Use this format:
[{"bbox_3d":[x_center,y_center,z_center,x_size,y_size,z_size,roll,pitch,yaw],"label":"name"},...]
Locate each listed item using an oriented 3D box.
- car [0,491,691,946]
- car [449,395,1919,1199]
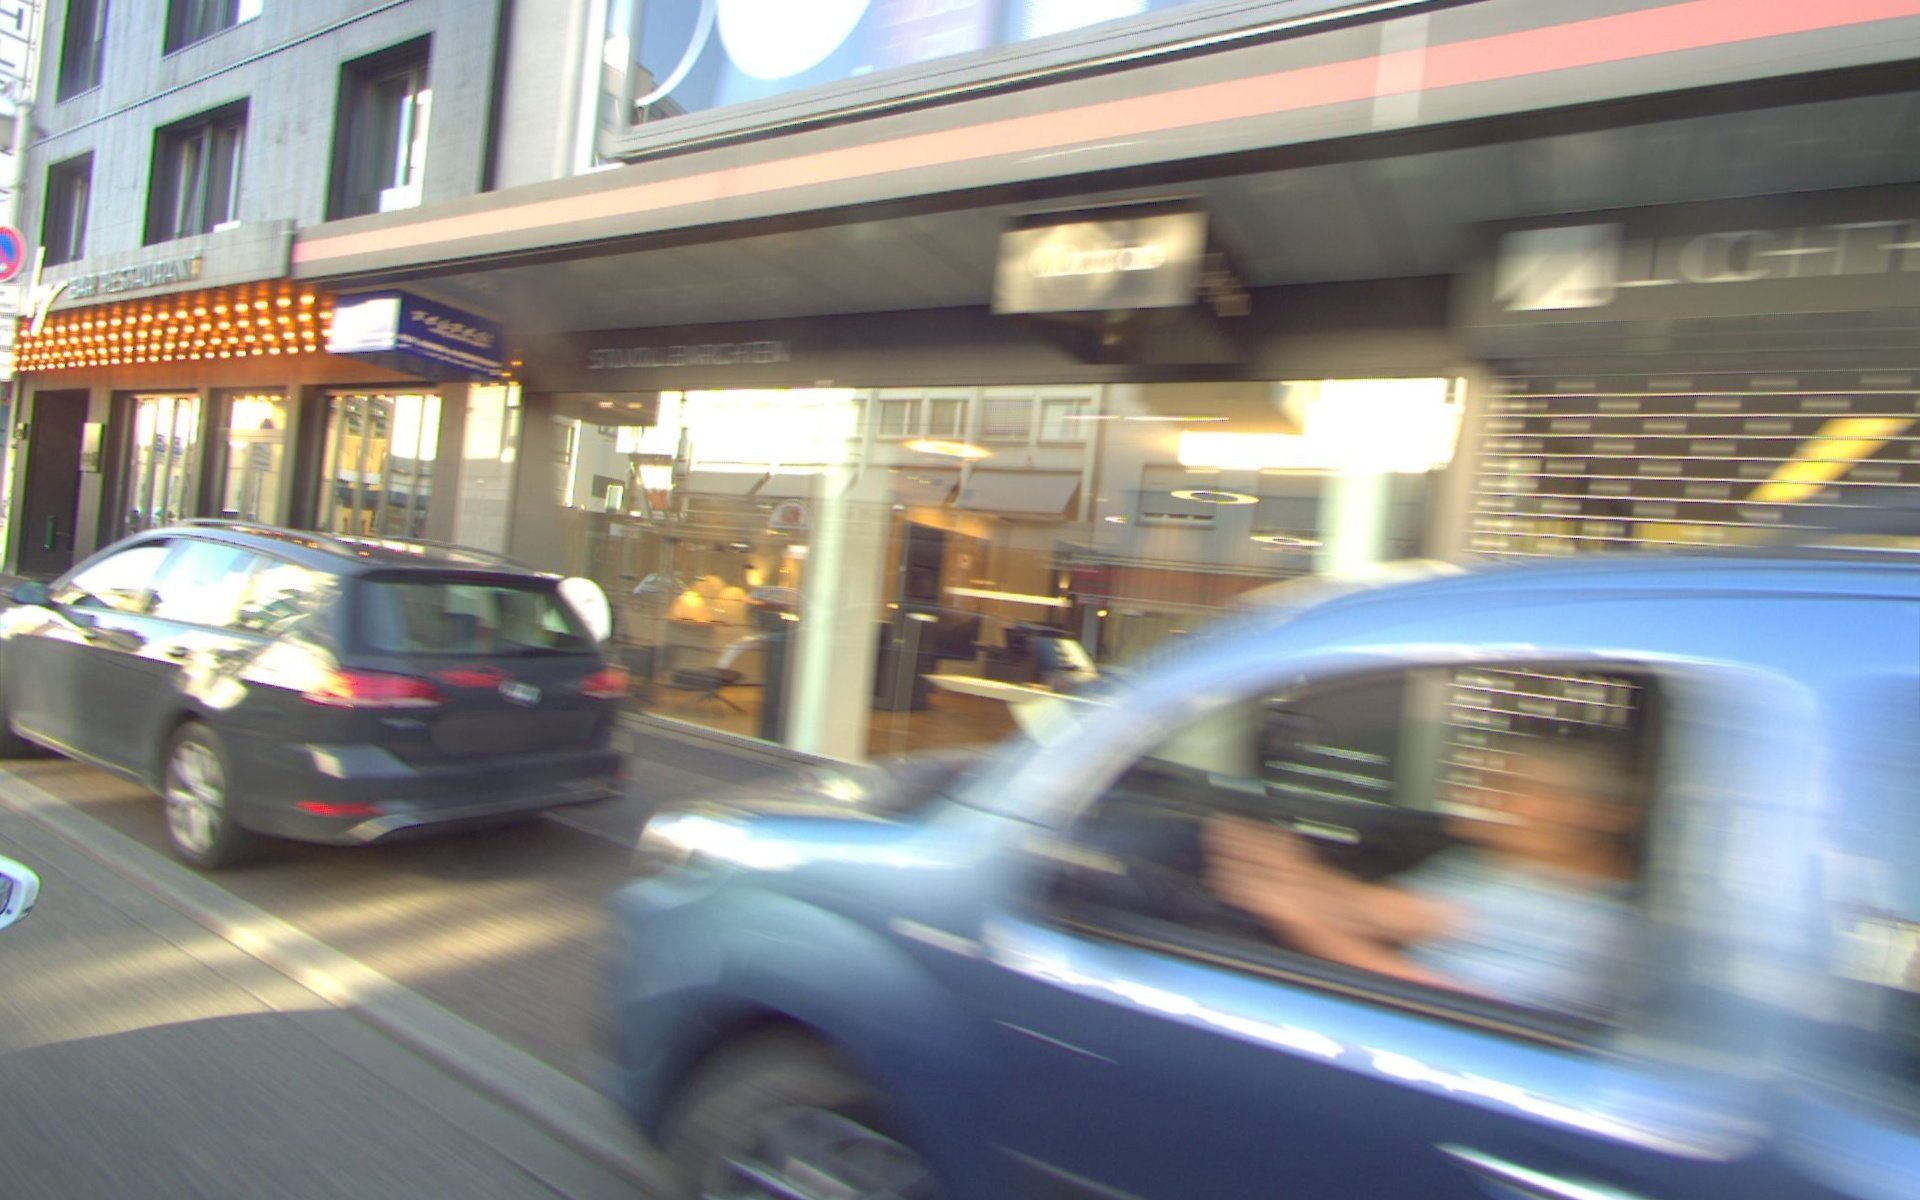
[{"bbox_3d":[-3.696,0.323,5.470,4.343,1.504,1.722,6,2,31],"label":"car"},{"bbox_3d":[1.272,0.733,2.093,4.471,1.883,1.819,6,1,28],"label":"car"}]
